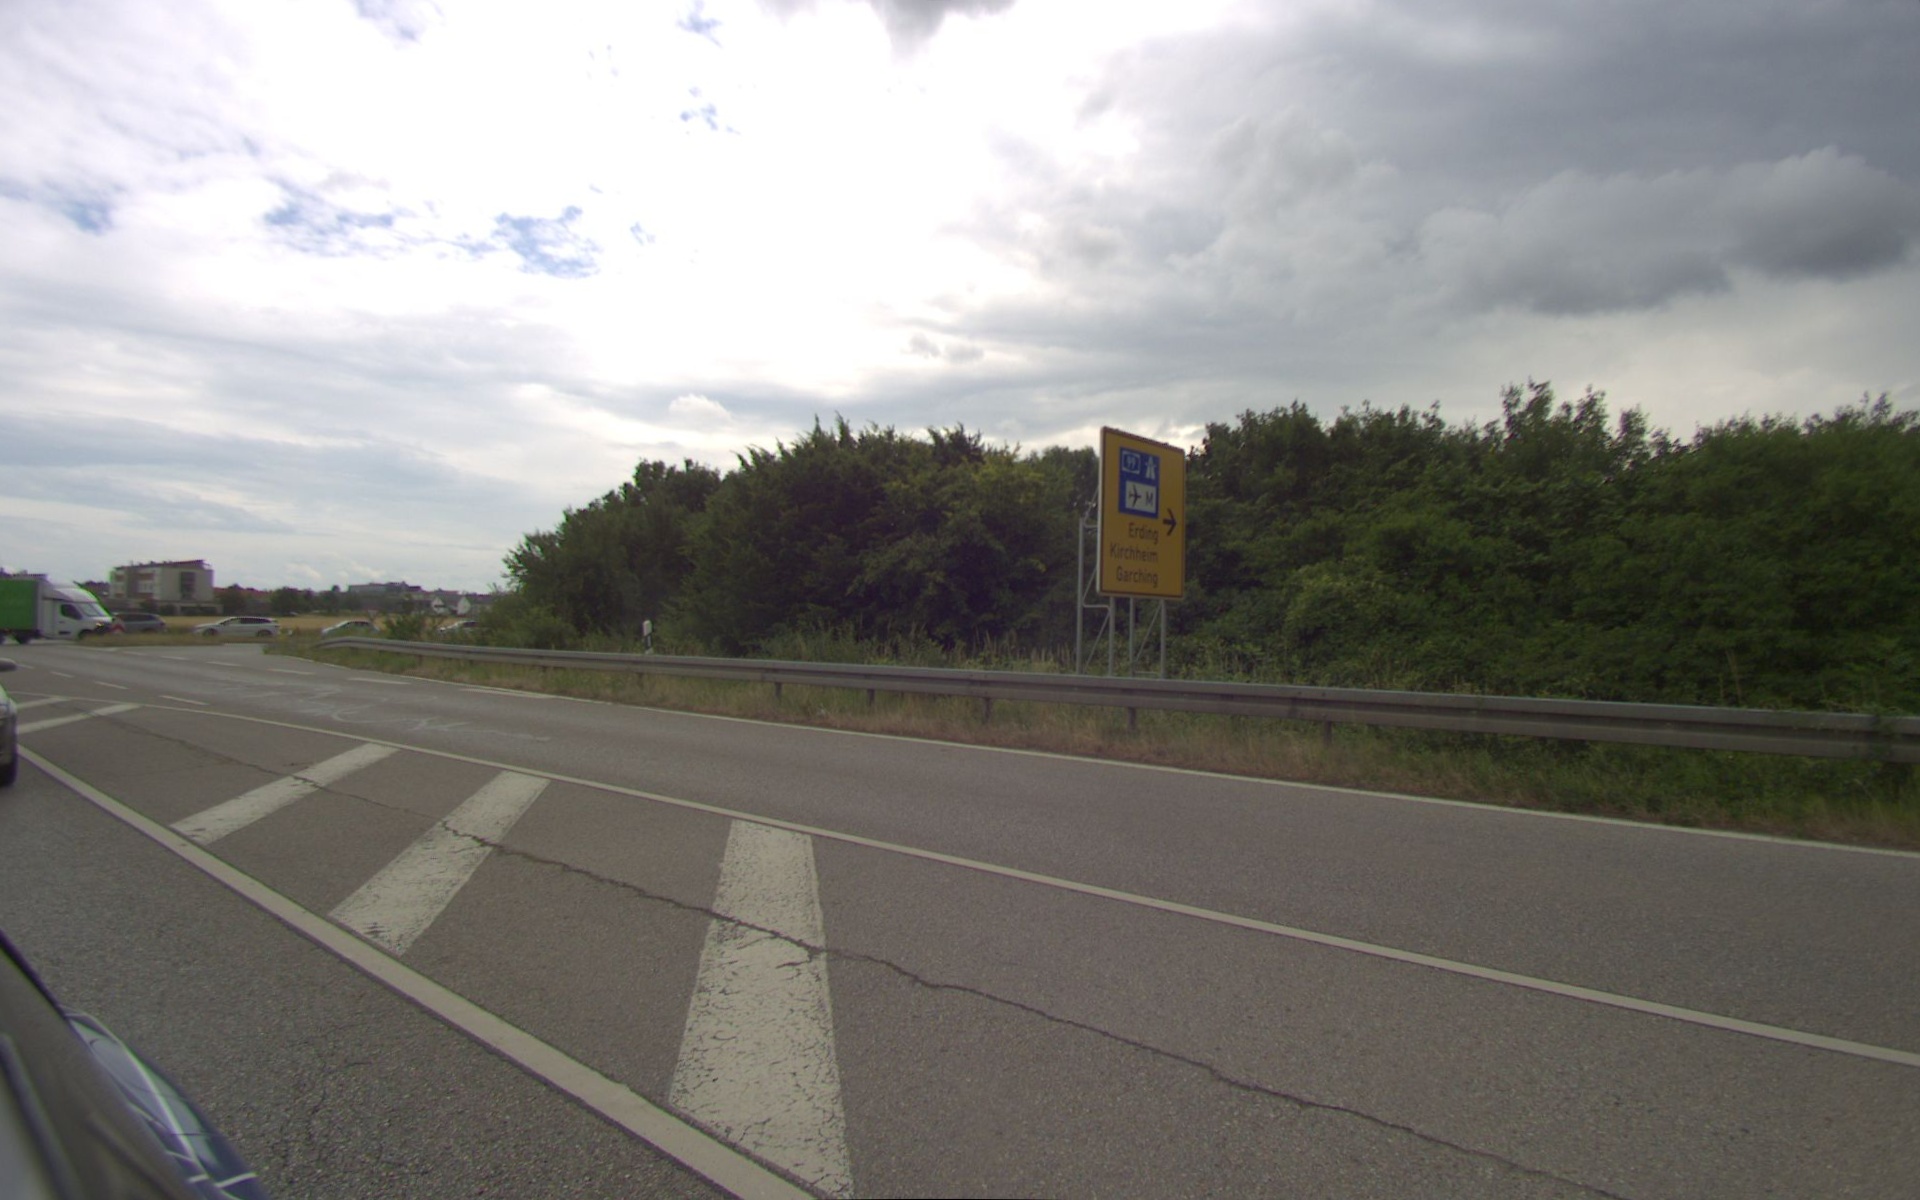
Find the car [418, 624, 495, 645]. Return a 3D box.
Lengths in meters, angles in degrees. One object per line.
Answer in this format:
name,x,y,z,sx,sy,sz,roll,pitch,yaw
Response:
car,-36.279,2.463,72.997,4.607,1.510,2.002,1,-2,-43

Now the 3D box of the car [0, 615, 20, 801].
car,-9.573,0.866,8.709,4.201,1.455,1.708,-1,-1,41

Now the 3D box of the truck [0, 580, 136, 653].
truck,-47.171,0.843,51.659,7.484,3.589,2.939,-1,0,-8

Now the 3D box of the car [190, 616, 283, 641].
car,-45.910,1.806,64.247,4.607,1.510,2.002,1,-2,-43

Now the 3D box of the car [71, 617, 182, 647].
car,-49.568,1.856,60.270,1.996,1.702,4.758,-1,-2,36

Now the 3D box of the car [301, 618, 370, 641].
car,-41.837,1.958,67.834,3.662,1.510,1.732,1,-2,-42
